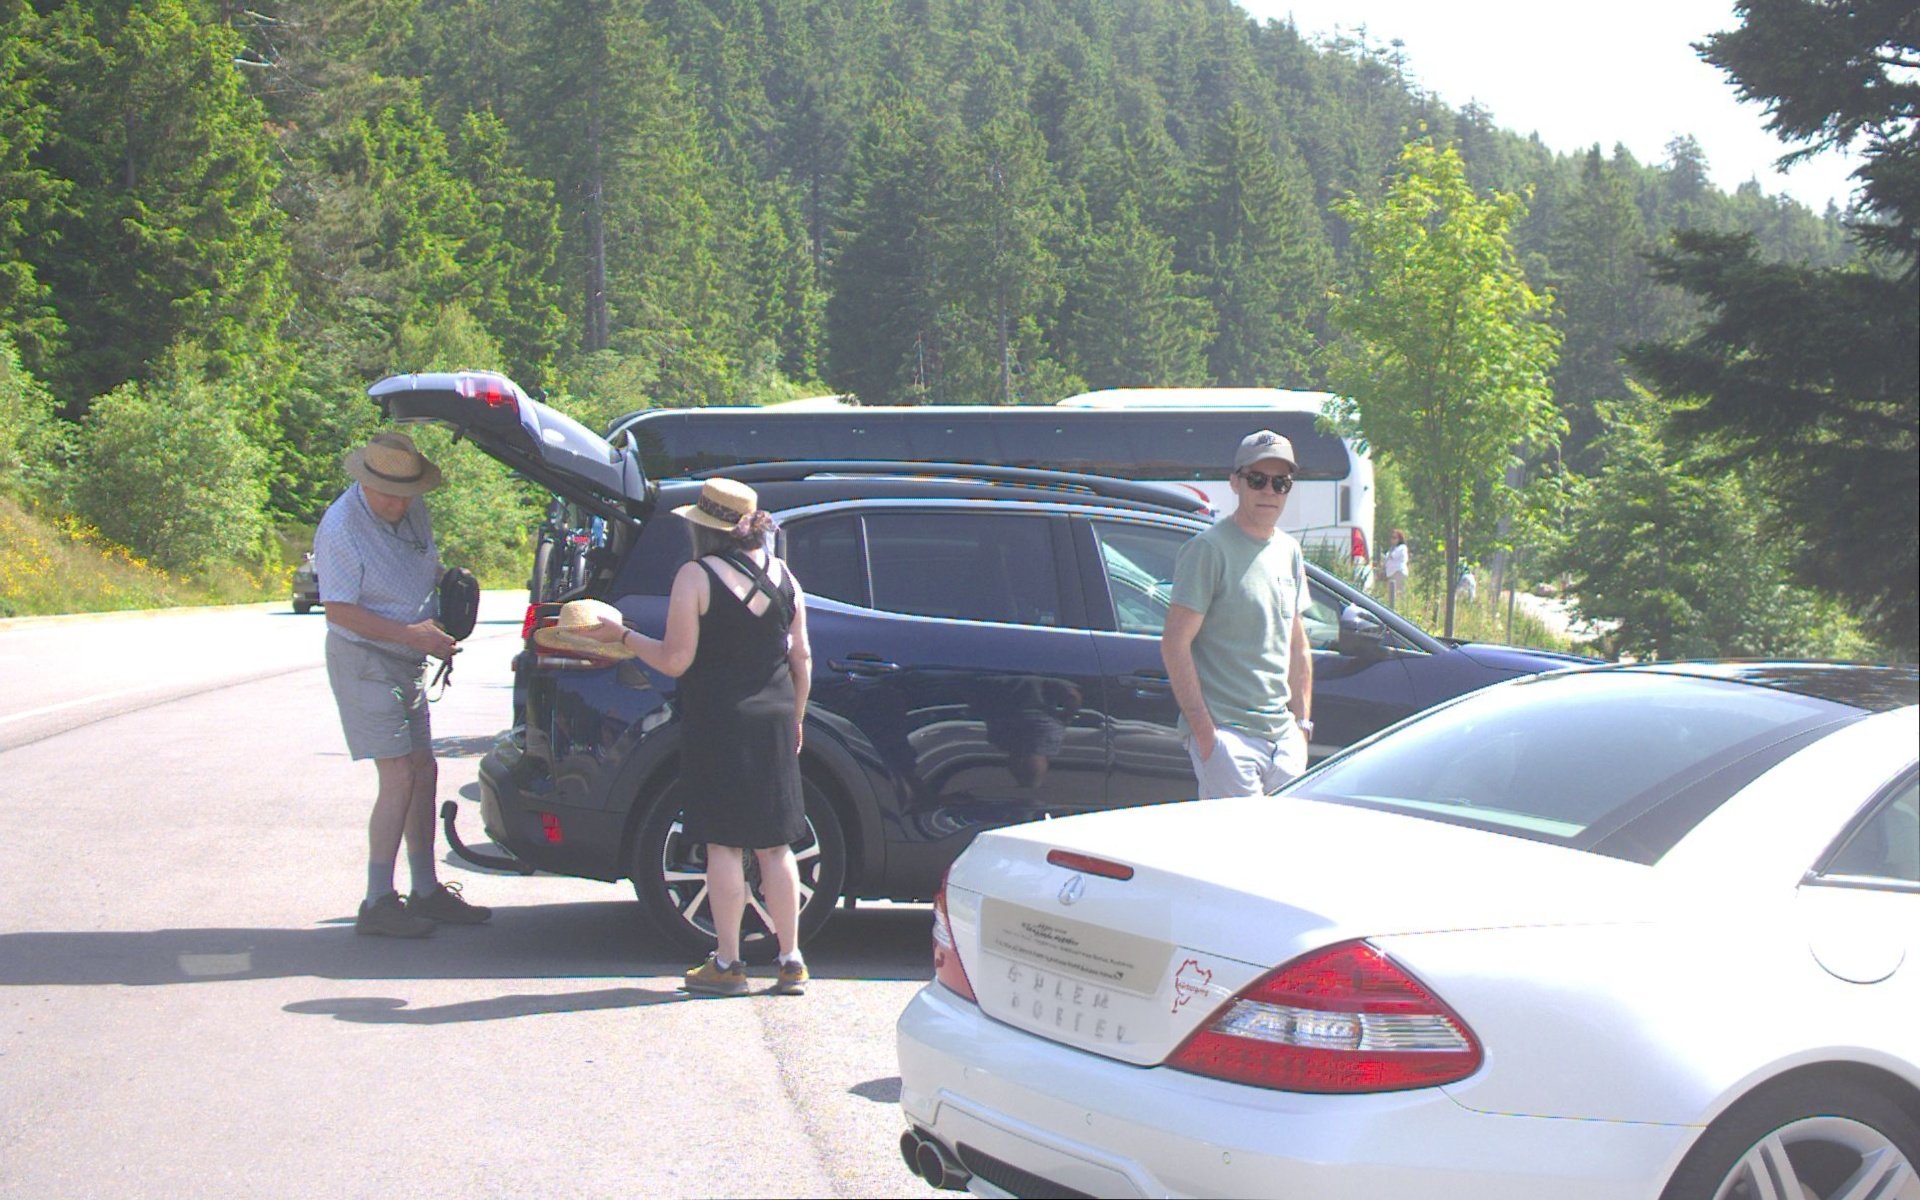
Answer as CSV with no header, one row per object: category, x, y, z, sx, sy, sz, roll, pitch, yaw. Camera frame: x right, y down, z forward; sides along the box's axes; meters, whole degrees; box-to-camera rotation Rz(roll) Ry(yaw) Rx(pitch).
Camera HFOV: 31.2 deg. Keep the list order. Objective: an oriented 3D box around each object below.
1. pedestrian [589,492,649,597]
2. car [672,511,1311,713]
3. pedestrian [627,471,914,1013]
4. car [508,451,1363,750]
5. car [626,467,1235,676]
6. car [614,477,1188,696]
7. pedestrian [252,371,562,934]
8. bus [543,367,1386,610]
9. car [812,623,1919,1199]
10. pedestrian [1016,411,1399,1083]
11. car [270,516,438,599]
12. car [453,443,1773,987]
pedestrian,-5.228,-0.850,52.692,0.770,1.579,0.772,-1,1,4
car,0.174,0.052,23.837,4.243,1.264,1.838,-1,1,-3
pedestrian,-0.588,0.422,10.579,0.714,1.607,0.537,1,0,-23
car,-0.150,-0.023,20.932,4.949,1.690,1.945,-1,1,-1
car,-0.282,-0.265,29.619,5.033,1.645,2.048,-1,1,-3
car,-0.475,-0.125,26.493,4.243,1.548,1.838,-1,1,-3
pedestrian,-1.914,0.150,11.931,0.736,1.864,0.757,3,4,27
bus,0.149,-1.741,54.784,13.097,3.520,3.043,-1,1,8
car,2.093,0.784,6.767,4.397,1.291,1.756,2,2,-26
pedestrian,0.693,0.389,9.684,0.746,1.794,0.736,1,0,-35
car,-11.132,-0.817,63.453,1.879,1.469,4.713,0,1,5
car,0.429,0.388,12.236,4.343,1.620,1.870,3,0,-8
